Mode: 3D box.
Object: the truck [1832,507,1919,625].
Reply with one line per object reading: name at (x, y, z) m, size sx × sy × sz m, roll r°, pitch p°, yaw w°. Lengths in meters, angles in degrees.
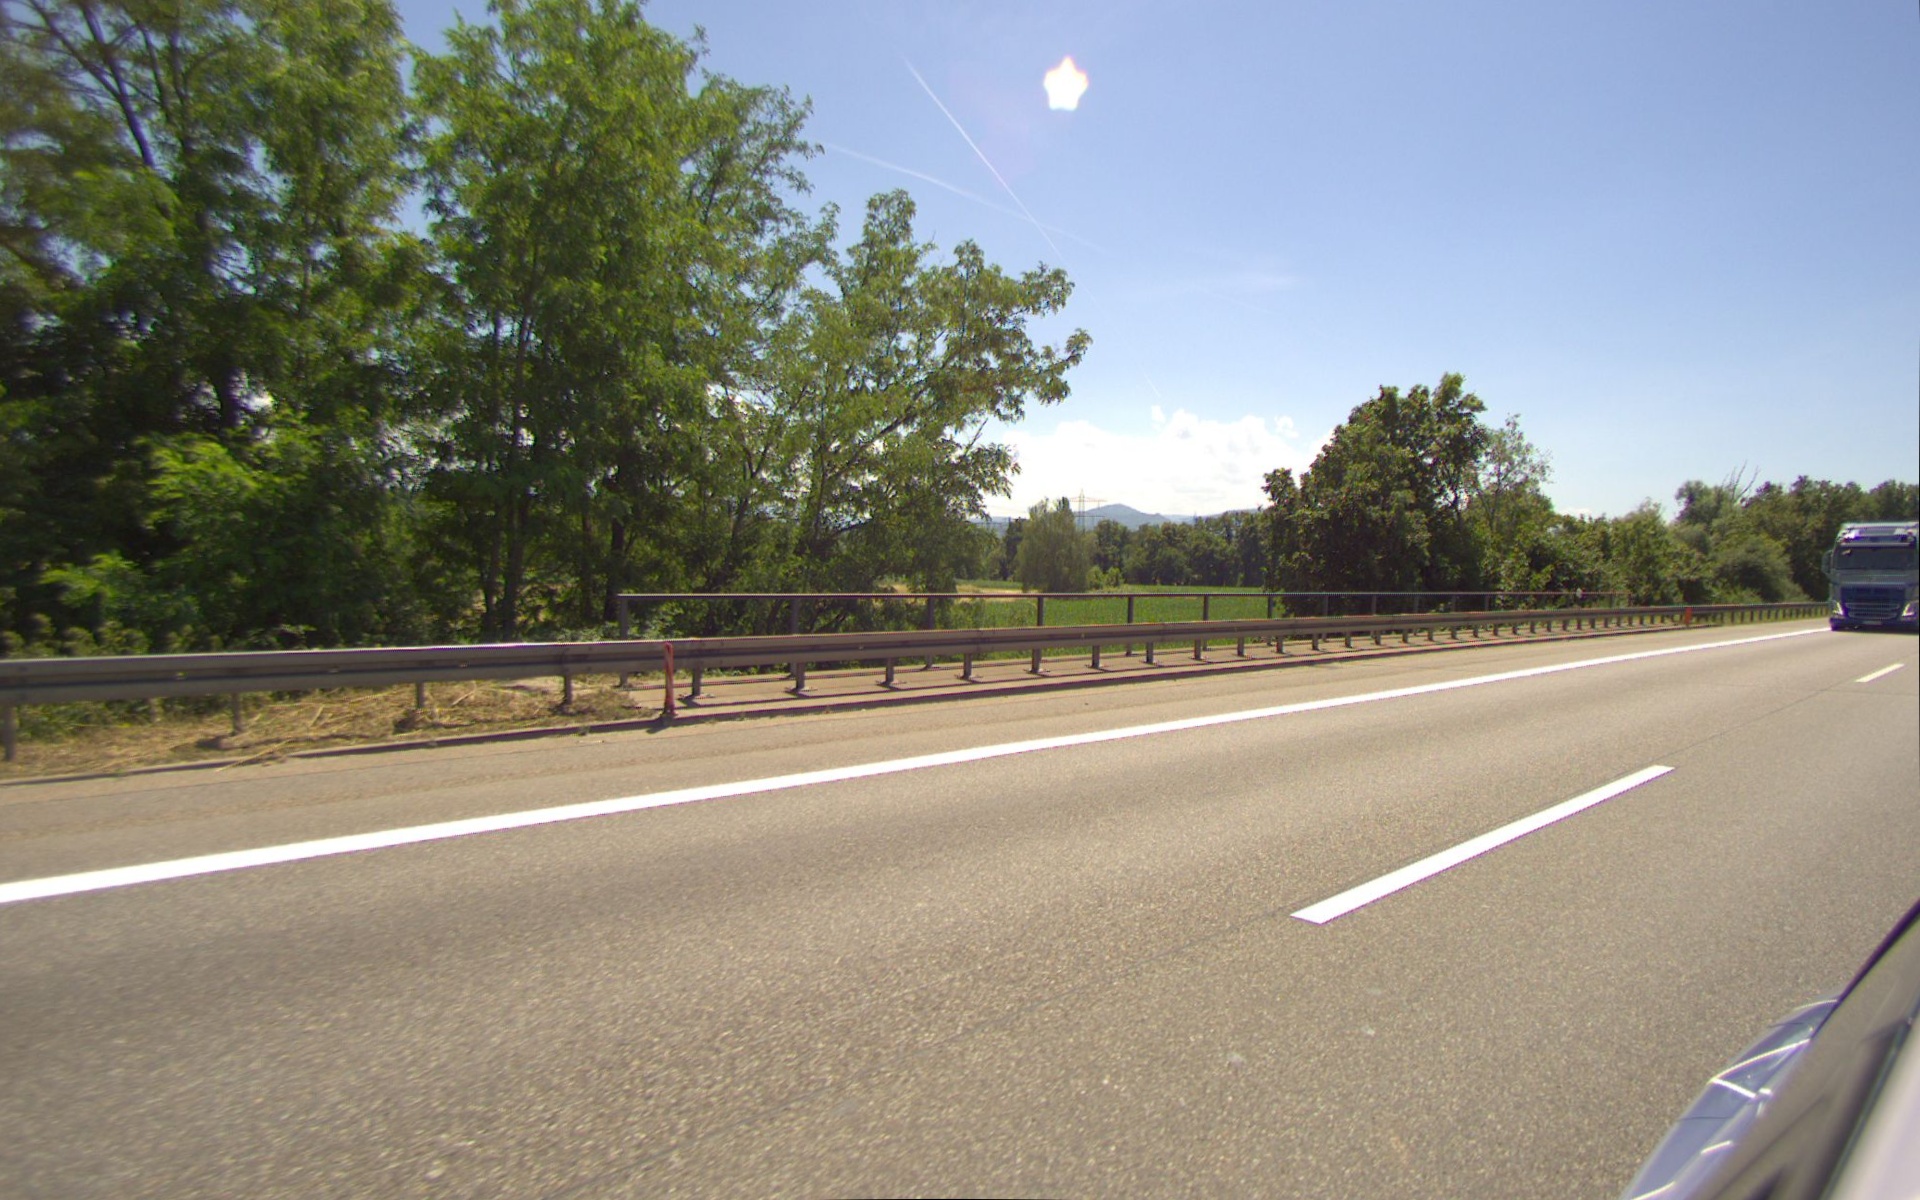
truck at (38.165, -1.267, 40.550) m, size 16.331 × 4.006 × 2.973 m, roll -1°, pitch 2°, yaw -42°
